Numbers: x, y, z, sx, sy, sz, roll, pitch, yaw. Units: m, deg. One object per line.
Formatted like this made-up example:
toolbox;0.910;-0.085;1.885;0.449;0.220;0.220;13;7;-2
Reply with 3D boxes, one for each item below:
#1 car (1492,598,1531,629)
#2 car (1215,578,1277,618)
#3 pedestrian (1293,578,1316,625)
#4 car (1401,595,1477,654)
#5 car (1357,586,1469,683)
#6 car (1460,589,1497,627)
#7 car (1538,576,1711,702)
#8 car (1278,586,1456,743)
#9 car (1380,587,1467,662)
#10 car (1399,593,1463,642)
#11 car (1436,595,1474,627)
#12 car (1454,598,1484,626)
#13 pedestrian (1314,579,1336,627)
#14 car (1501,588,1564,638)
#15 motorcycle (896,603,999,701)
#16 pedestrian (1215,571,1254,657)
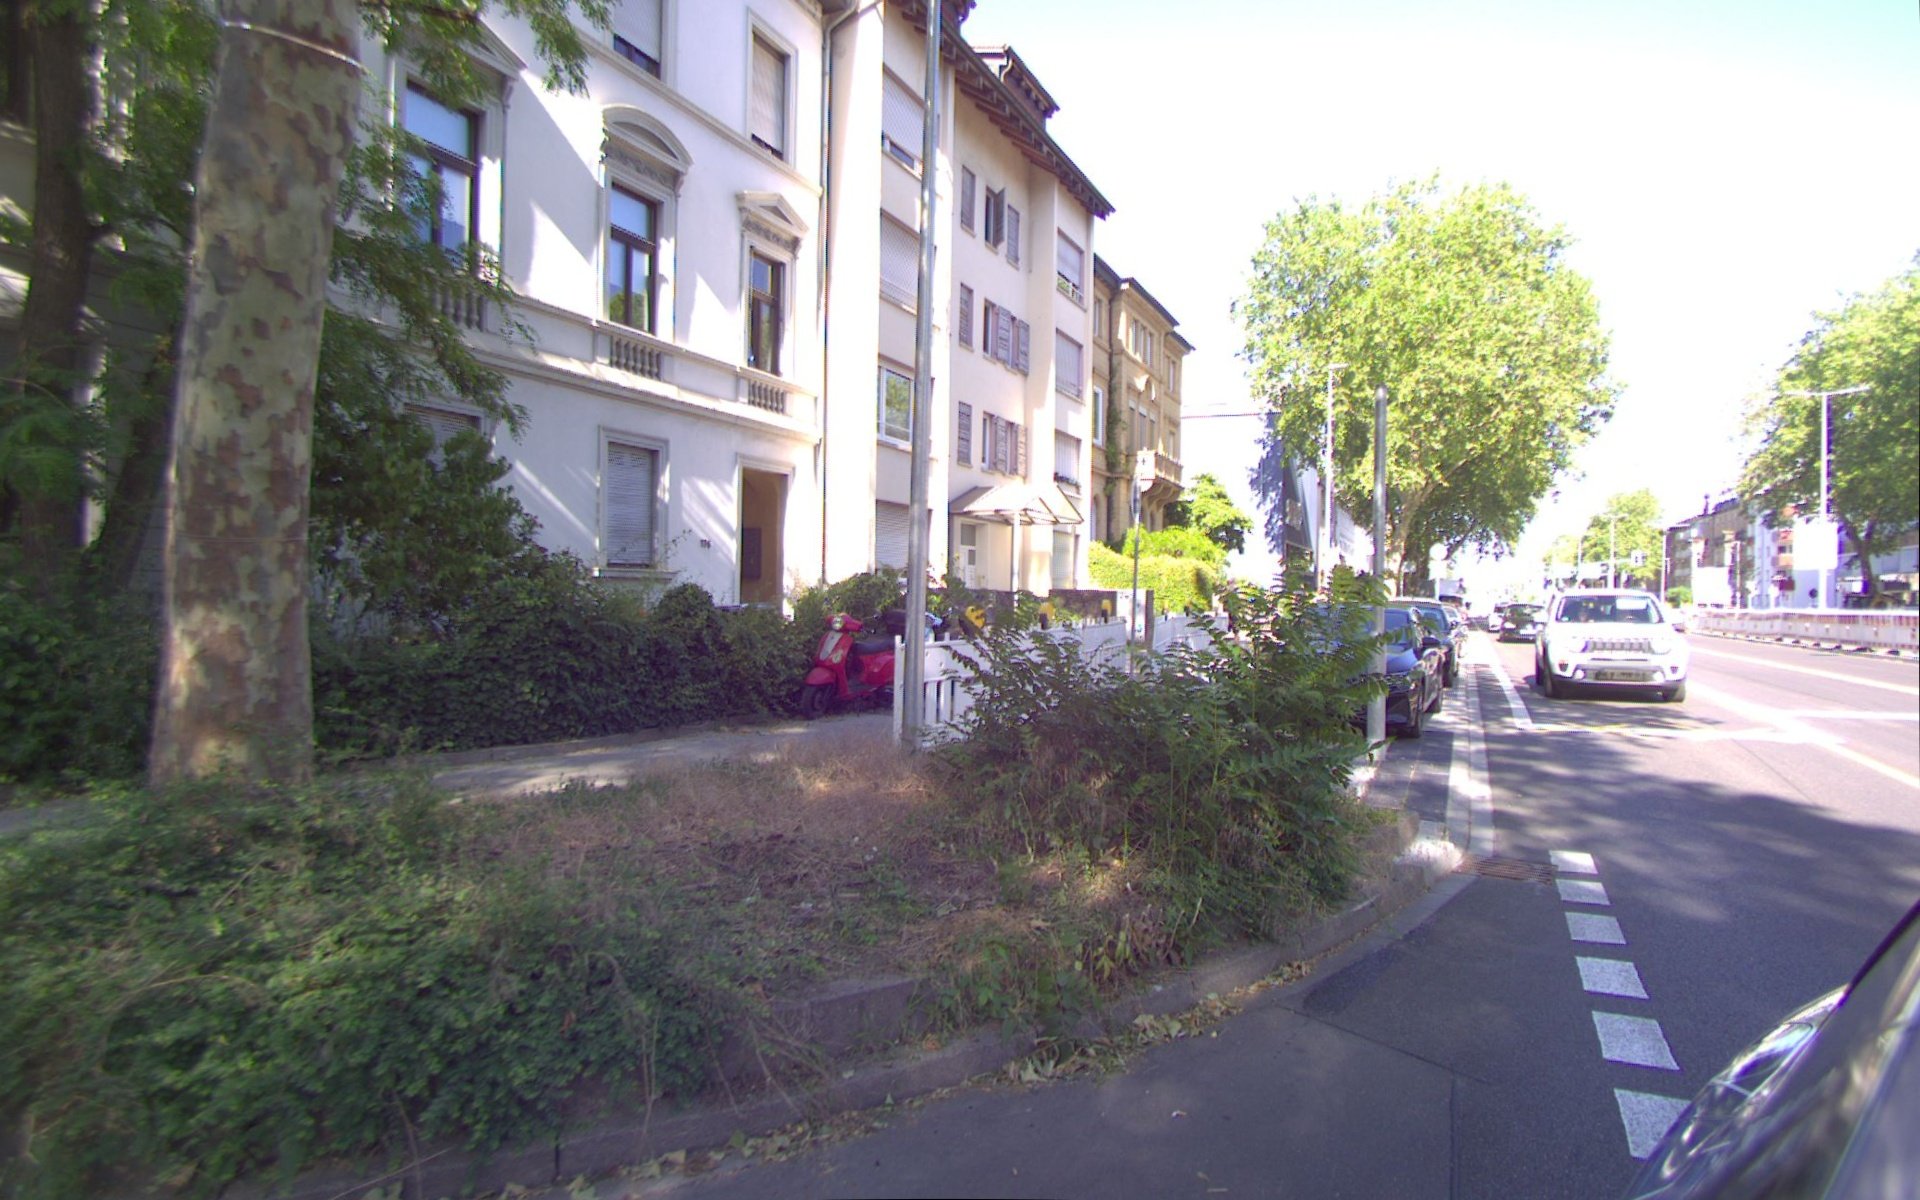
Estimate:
car;26.860;0.642;49.345;1.544;1.397;3.612;1;1;27
car;14.080;-0.132;50.068;1.765;1.844;4.002;1;1;-2
pedestrian;13.475;0.048;39.581;0.692;1.819;0.794;1;0;28
car;13.160;0.611;27.701;1.706;1.430;4.010;3;1;27
car;8.363;0.538;18.504;1.610;1.504;4.018;3;1;27
car;28.935;0.422;56.488;1.738;1.990;4.464;1;1;27
car;10.572;0.541;16.421;1.852;1.748;4.464;-1;0;27
car;5.084;0.634;12.333;1.610;1.504;4.058;3;1;27
car;10.676;0.494;23.195;1.610;1.504;3.698;3;1;27
car;15.812;0.538;33.861;1.706;1.430;4.433;4;2;27
car;25.346;0.527;51.723;1.659;1.536;3.960;1;1;27
car;32.455;0.731;64.524;1.616;1.655;4.180;1;1;27
pedestrian;14.146;0.115;39.207;0.692;1.819;0.708;1;0;28
car;21.372;0.457;37.932;1.852;1.748;4.464;-1;0;27
motorcycle;-0.147;0.649;13.384;0.594;1.201;1.536;1;0;34
pedestrian;6.151;0.294;22.677;0.660;1.872;0.687;2;1;28
